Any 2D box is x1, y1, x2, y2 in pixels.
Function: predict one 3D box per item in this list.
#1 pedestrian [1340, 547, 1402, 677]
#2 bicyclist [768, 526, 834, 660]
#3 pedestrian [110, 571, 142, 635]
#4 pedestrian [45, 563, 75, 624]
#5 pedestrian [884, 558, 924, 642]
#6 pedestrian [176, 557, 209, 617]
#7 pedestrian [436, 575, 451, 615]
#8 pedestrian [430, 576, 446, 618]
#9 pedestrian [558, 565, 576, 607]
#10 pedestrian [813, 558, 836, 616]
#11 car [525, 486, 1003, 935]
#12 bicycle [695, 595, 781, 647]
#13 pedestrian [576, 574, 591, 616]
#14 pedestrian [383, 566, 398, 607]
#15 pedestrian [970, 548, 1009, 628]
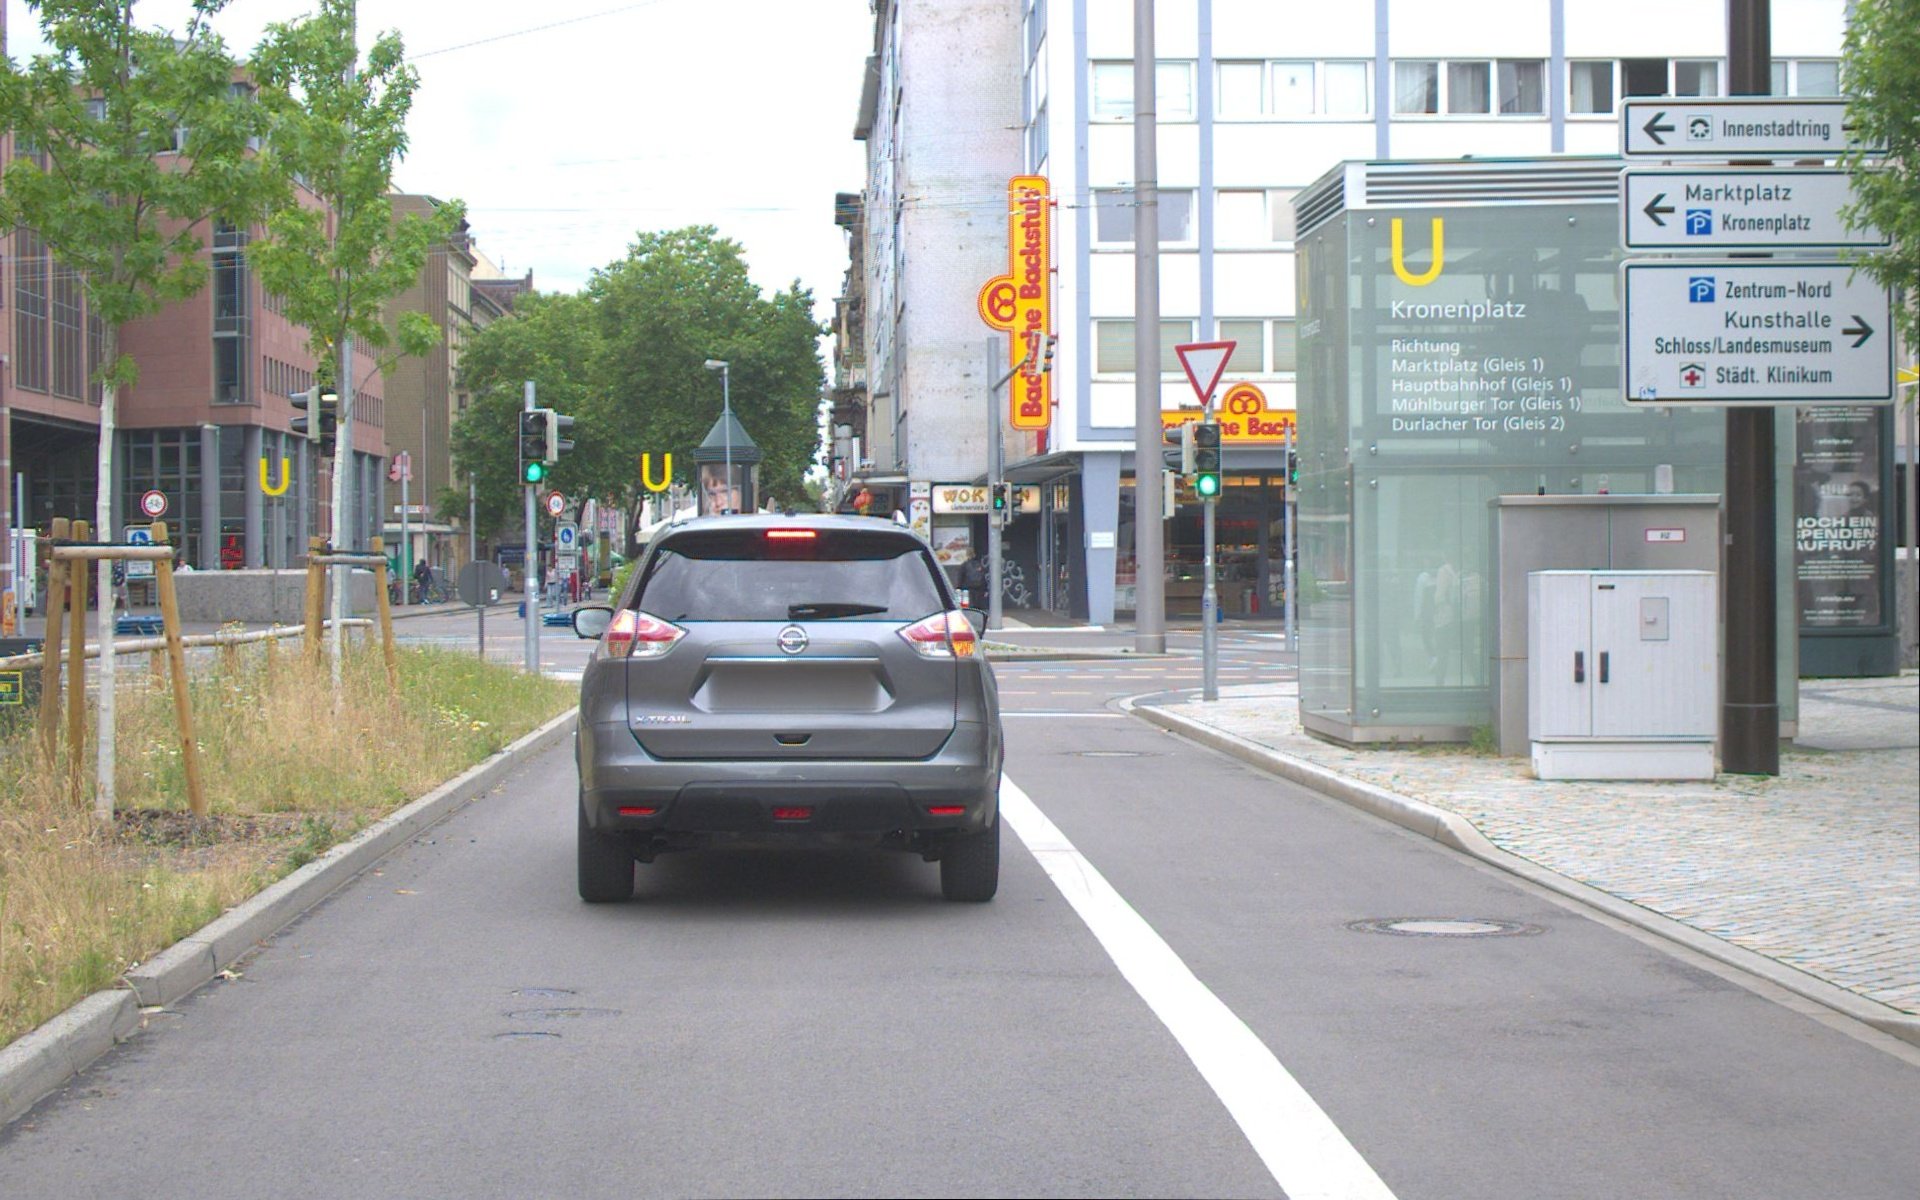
[{"bbox_3d":[5.602,0.155,46.891,0.621,1.755,0.780,1,0,-10],"label":"pedestrian"},{"bbox_3d":[-2.167,-0.102,46.884,0.834,1.806,0.877,1,0,0],"label":"bicyclist"},{"bbox_3d":[-24.429,0.087,100.700,0.732,1.835,0.702,0,0,-30],"label":"pedestrian"},{"bbox_3d":[-27.320,-0.189,104.316,0.732,1.835,0.702,1,0,-27],"label":"pedestrian"},{"bbox_3d":[-1.234,-0.004,75.641,0.712,1.826,1.017,1,0,-10],"label":"pedestrian"},{"bbox_3d":[-23.670,-0.414,106.026,0.701,1.835,0.734,1,0,17],"label":"pedestrian"},{"bbox_3d":[-22.438,-0.222,149.257,0.600,1.708,0.656,1,0,-10],"label":"pedestrian"},{"bbox_3d":[-21.124,-0.116,139.062,0.600,1.708,0.656,1,0,-10],"label":"pedestrian"},{"bbox_3d":[-14.437,-0.519,126.312,0.600,1.531,0.656,1,0,-10],"label":"pedestrian"},{"bbox_3d":[-3.994,-0.373,101.185,0.643,1.699,0.559,1,0,-1],"label":"pedestrian"},{"bbox_3d":[-0.766,0.419,16.221,1.863,1.769,4.567,-2,1,1],"label":"car"},{"bbox_3d":[-5.087,0.485,78.728,1.866,1.168,0.531,1,0,-16],"label":"bicycle"},{"bbox_3d":[-15.656,-0.206,142.957,0.600,1.708,0.656,1,0,-10],"label":"pedestrian"},{"bbox_3d":[-23.770,-0.578,143.438,0.600,1.708,0.656,1,0,-10],"label":"pedestrian"},{"bbox_3d":[0.638,-0.262,74.170,0.710,1.699,0.734,1,0,10],"label":"pedestrian"}]
